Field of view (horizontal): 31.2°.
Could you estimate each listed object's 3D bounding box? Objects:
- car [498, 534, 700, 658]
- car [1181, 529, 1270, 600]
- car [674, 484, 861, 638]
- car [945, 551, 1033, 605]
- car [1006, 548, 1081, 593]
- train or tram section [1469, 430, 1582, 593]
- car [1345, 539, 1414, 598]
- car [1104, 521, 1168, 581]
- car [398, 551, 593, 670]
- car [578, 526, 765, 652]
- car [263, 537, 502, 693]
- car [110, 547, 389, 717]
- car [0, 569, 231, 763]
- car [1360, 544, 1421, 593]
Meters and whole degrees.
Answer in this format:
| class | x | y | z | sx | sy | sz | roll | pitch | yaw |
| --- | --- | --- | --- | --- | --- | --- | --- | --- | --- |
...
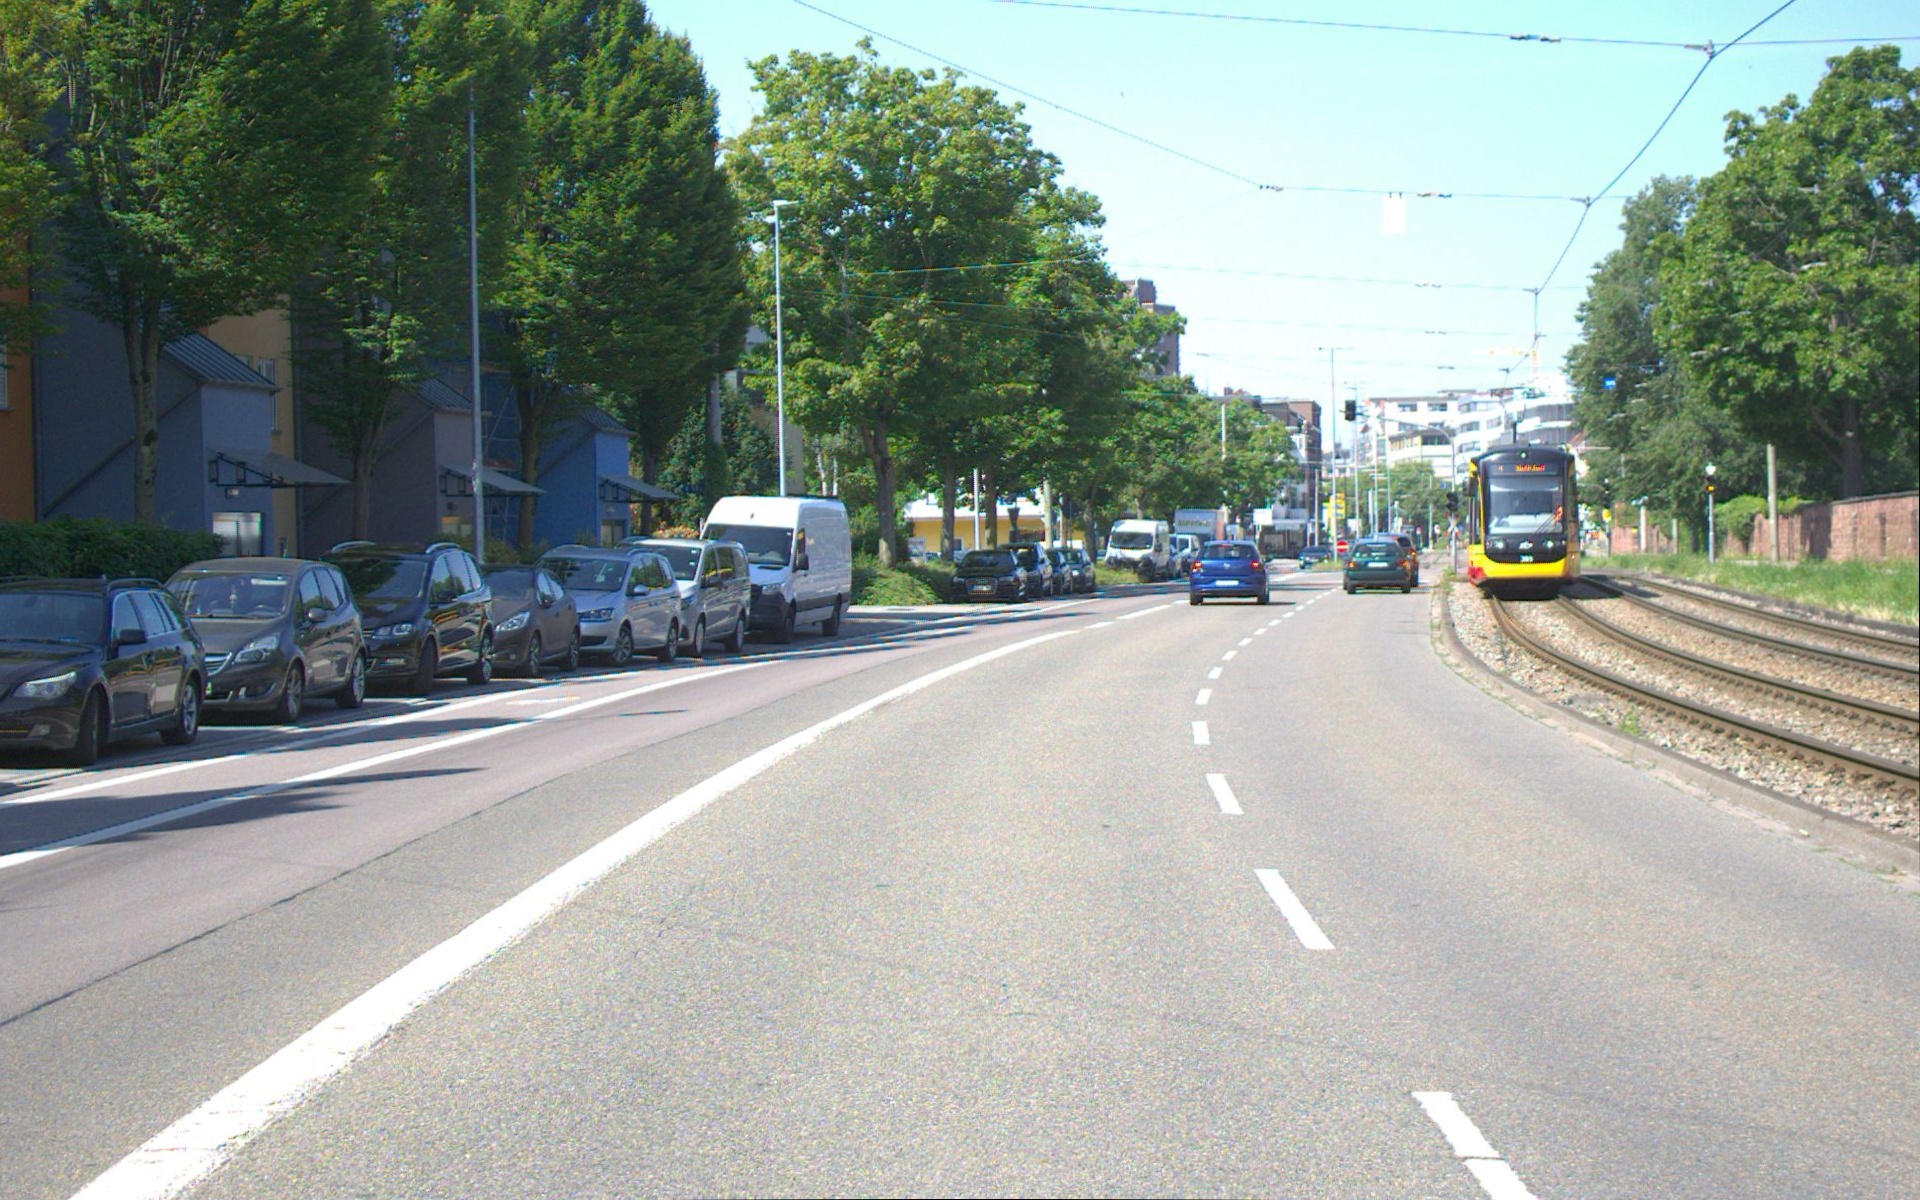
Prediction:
| class | x | y | z | sx | sy | sz | roll | pitch | yaw |
| --- | --- | --- | --- | --- | --- | --- | --- | --- | --- |
| car | -5.361 | -0.098 | 51.681 | 1.801 | 1.718 | 4.908 | 2 | 1 | 9 |
| car | 6.040 | -0.820 | 77.934 | 1.801 | 1.502 | 3.999 | 0 | 2 | 7 |
| car | -3.569 | -0.757 | 65.224 | 1.995 | 2.705 | 7.154 | 2 | 1 | 9 |
| car | 0.822 | -0.617 | 95.444 | 1.700 | 1.412 | 3.998 | -1 | 1 | 11 |
| car | 2.647 | -0.936 | 108.206 | 1.700 | 1.347 | 3.998 | -1 | 1 | 11 |
| train or tram section | 14.177 | -2.171 | 86.212 | 2.512 | 3.734 | 13.306 | -1 | 1 | 9 |
| car | 11.237 | -0.866 | 91.950 | 1.801 | 1.502 | 3.999 | 0 | 1 | 7 |
| car | 7.306 | -2.020 | 142.117 | 1.881 | 2.407 | 5.114 | -1 | 1 | 11 |
| car | -6.213 | 0.103 | 46.426 | 1.690 | 1.469 | 4.048 | 2 | 1 | 5 |
| car | -4.730 | -0.214 | 57.138 | 1.920 | 1.941 | 5.353 | 2 | 1 | 8 |
| car | -6.783 | 0.124 | 40.880 | 1.769 | 1.717 | 4.870 | 1 | 1 | 3 |
| car | -7.241 | 0.276 | 35.451 | 1.717 | 1.619 | 4.312 | 1 | 1 | 4 |
| car | -7.715 | 0.500 | 29.489 | 1.723 | 1.469 | 4.715 | 1 | 1 | 2 |
| car | 13.266 | -0.985 | 105.824 | 1.801 | 1.455 | 3.999 | -1 | 1 | 7 |
